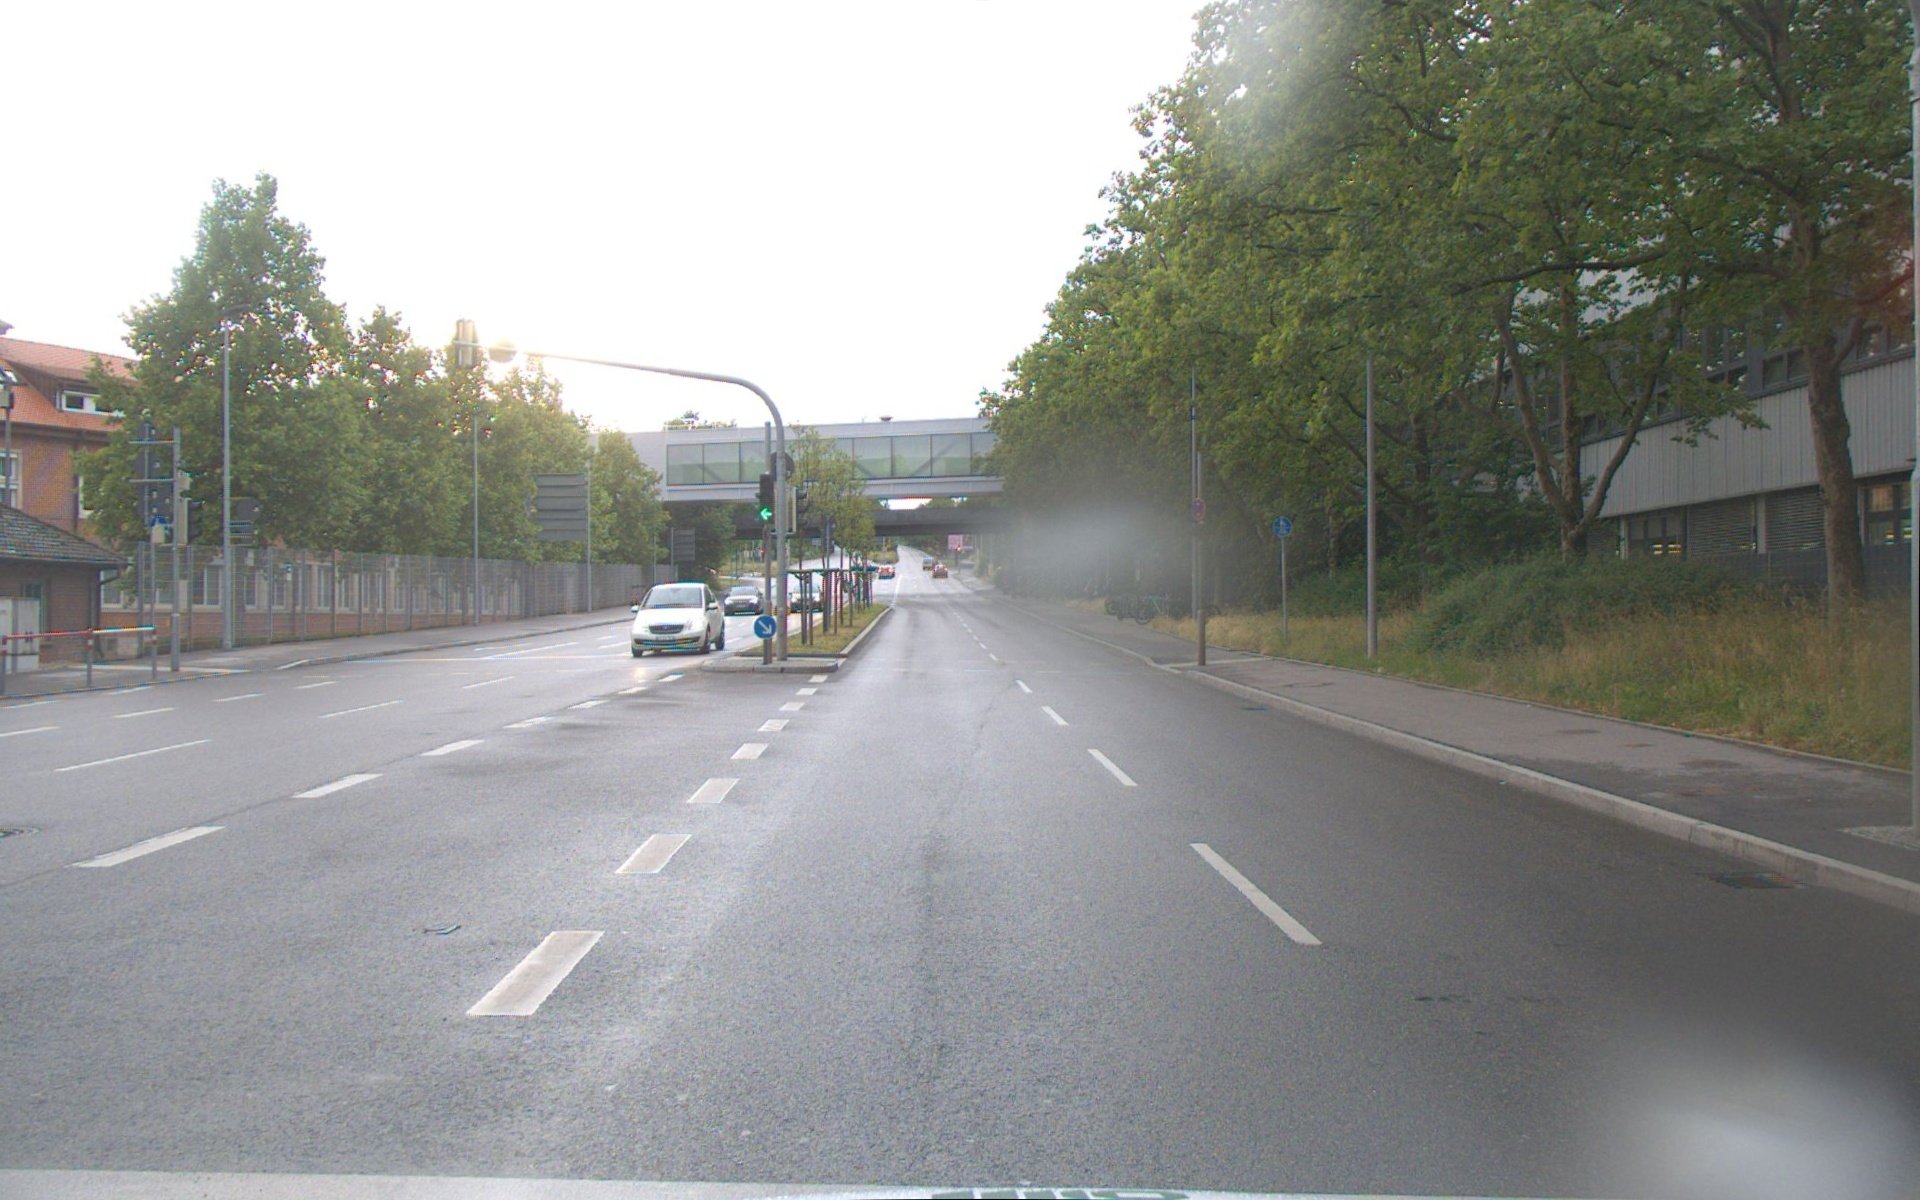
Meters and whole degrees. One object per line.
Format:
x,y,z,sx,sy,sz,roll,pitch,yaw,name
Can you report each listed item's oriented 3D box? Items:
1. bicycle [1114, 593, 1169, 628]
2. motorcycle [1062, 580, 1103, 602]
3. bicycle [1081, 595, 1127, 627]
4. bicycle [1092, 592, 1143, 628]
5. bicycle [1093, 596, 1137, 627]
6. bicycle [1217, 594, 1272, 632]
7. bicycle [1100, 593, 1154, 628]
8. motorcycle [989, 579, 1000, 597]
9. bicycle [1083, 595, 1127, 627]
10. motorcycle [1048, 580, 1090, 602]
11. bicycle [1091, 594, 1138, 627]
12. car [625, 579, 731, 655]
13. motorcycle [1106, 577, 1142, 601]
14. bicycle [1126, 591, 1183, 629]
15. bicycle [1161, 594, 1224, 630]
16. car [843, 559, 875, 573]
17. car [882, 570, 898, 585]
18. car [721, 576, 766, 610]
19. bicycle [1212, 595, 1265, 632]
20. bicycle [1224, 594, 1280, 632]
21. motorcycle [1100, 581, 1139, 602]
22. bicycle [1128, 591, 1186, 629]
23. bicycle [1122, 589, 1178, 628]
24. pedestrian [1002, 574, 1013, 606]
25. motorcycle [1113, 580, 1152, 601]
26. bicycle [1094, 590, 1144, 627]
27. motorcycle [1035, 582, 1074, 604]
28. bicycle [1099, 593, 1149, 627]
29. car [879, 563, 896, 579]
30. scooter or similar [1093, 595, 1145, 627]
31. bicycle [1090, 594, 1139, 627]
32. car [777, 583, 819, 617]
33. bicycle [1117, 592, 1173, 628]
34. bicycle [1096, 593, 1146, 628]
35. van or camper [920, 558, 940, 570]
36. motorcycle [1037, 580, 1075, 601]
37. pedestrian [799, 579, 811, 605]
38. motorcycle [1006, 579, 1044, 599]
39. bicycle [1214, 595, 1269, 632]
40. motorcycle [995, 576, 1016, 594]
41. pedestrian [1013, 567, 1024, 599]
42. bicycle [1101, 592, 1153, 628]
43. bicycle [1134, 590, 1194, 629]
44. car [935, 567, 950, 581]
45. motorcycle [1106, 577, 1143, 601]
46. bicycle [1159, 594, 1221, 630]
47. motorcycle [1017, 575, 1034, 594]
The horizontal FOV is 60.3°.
6.793,0.391,61.899,1.949,1.263,0.541,2,-1,0,bicycle
7.187,-0.506,96.959,2.318,1.223,0.723,-1,0,7,motorcycle
6.337,0.471,72.751,1.923,1.352,0.654,2,-1,0,bicycle
6.262,0.394,65.980,1.949,1.352,0.576,2,-1,0,bicycle
7.096,0.536,75.983,1.923,1.352,0.654,2,-1,0,bicycle
10.789,0.498,62.774,1.949,1.352,0.576,2,-1,0,bicycle
6.383,0.395,63.267,1.949,1.263,0.541,2,-1,0,bicycle
3.006,-1.040,144.704,0.774,1.560,2.375,-1,0,-2,motorcycle
6.529,0.499,74.472,1.923,1.352,0.654,2,-1,0,bicycle
6.255,-0.527,94.918,2.318,1.223,0.723,-1,0,7,motorcycle
6.573,0.449,70.463,1.920,1.352,0.576,2,-1,0,bicycle
-6.526,0.358,38.611,1.839,1.653,3.778,-1,0,-1,car
10.768,-0.713,108.451,2.318,1.502,0.723,-1,0,7,motorcycle
6.937,0.359,58.978,1.949,1.263,0.541,2,-1,0,bicycle
7.597,0.391,53.976,1.949,1.114,0.541,2,-1,0,bicycle
-14.433,-4.800,236.212,4.416,1.792,1.905,2,-1,3,car
-8.966,-2.831,212.233,1.846,1.792,3.968,2,-1,-1,car
-10.932,-0.350,83.723,1.839,1.653,3.778,-1,0,-1,car
10.794,0.515,64.091,1.949,1.352,0.576,2,-1,0,bicycle
10.828,0.481,61.346,1.949,1.352,0.576,2,-1,0,bicycle
9.683,-0.511,100.403,2.318,1.223,0.723,-1,0,7,motorcycle
6.932,0.353,58.183,1.949,1.255,0.541,2,-1,0,bicycle
6.917,0.307,60.261,1.949,1.364,0.541,2,-1,0,bicycle
3.056,-0.657,106.868,0.609,2.049,0.605,-1,0,-1,pedestrian
10.329,-0.561,99.069,2.318,1.223,0.723,-1,0,7,motorcycle
6.504,0.359,67.661,1.949,1.455,0.723,2,-1,0,bicycle
5.702,-0.420,99.864,2.318,1.223,0.723,-1,0,7,motorcycle
6.785,0.431,68.518,1.949,1.352,0.576,2,-1,0,bicycle
-9.005,-3.563,206.586,1.953,1.792,3.999,2,-1,-1,car
6.149,0.435,64.026,1.949,1.157,0.541,2,-1,0,scooter or similar
6.453,0.442,69.224,1.949,1.352,0.576,2,-1,0,bicycle
-8.343,-0.007,85.565,1.839,1.653,3.778,-1,0,-1,car
6.811,0.380,60.951,1.949,1.263,0.541,2,-1,0,bicycle
6.502,0.414,66.927,1.949,1.352,0.576,2,-1,0,bicycle
-4.577,-5.427,250.759,1.760,1.845,3.768,2,1,19,van or camper
5.904,-0.600,101.640,2.318,1.223,0.723,-1,0,7,motorcycle
-12.295,-0.675,131.465,0.856,2.039,0.853,-1,0,-8,pedestrian
4.117,-0.714,104.786,2.318,1.223,0.723,-1,0,7,motorcycle
10.793,0.507,63.452,1.949,1.352,0.576,2,-1,0,bicycle
3.468,-1.135,125.425,0.778,1.334,2.364,-1,0,-19,motorcycle
3.770,-1.099,106.841,0.609,2.049,0.605,-1,0,-1,pedestrian
6.590,0.394,65.176,1.949,1.352,0.576,2,-1,0,bicycle
6.900,0.332,55.994,1.949,1.237,0.541,2,-1,0,bicycle
-2.119,-3.221,203.021,1.837,1.523,4.067,2,-1,-1,car
10.683,-0.686,107.215,2.318,1.502,0.723,-1,0,7,motorcycle
7.589,0.398,54.545,1.949,1.114,0.541,2,-1,0,bicycle
4.847,-1.119,121.976,0.775,1.334,2.371,-1,0,-9,motorcycle
